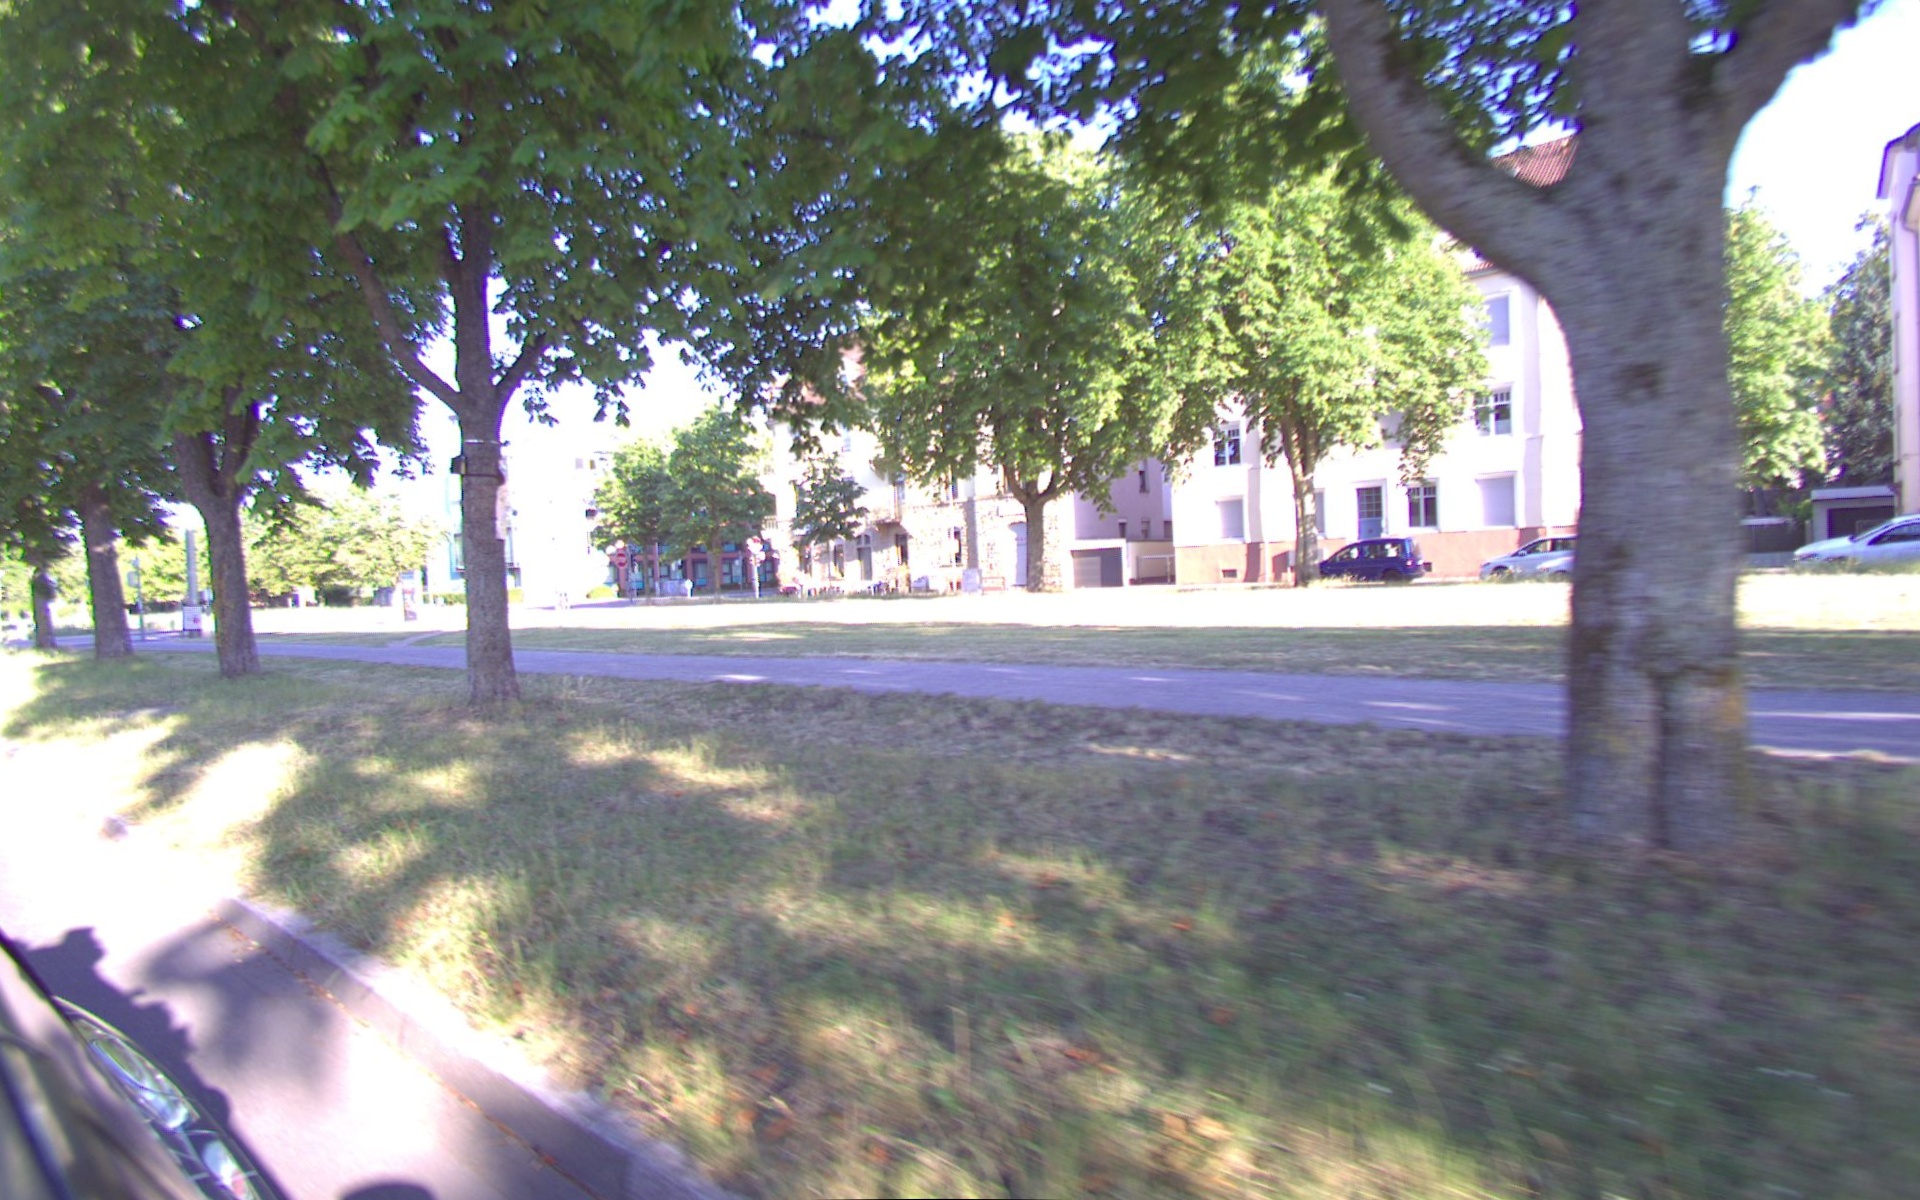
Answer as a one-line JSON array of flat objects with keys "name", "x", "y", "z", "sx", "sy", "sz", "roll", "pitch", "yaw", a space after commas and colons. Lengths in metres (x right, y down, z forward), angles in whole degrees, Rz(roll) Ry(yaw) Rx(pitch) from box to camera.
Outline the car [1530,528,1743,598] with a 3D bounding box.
[{"name": "car", "x": 18.402, "y": -0.981, "z": 27.642, "sx": 4.570, "sy": 1.670, "sz": 1.973, "roll": 0, "pitch": 5, "yaw": 43}]

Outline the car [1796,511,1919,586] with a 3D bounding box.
[{"name": "car", "x": 22.612, "y": -1.275, "z": 23.848, "sx": 4.415, "sy": 1.565, "sz": 1.779, "roll": -2, "pitch": 4, "yaw": 40}]

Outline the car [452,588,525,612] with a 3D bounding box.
[{"name": "car", "x": -39.136, "y": -0.050, "z": 84.139, "sx": 1.997, "sy": 1.684, "sz": 5.158, "roll": -1, "pitch": 3, "yaw": 38}]

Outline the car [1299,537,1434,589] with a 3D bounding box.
[{"name": "car", "x": 15.366, "y": -1.378, "z": 38.374, "sx": 4.311, "sy": 1.748, "sz": 1.973, "roll": 0, "pitch": 5, "yaw": 43}]

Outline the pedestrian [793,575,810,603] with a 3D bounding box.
[{"name": "pedestrian", "x": -9.815, "y": -0.689, "z": 62.606, "sx": 0.682, "sy": 1.636, "sz": 0.610, "roll": -1, "pitch": 4, "yaw": 39}]

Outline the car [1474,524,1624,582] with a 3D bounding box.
[{"name": "car", "x": 19.749, "y": -1.562, "z": 34.019, "sx": 4.000, "sy": 1.670, "sz": 1.973, "roll": 0, "pitch": 6, "yaw": 43}]

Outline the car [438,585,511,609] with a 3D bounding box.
[{"name": "car", "x": -40.939, "y": -0.267, "z": 85.486, "sx": 1.964, "sy": 1.684, "sz": 5.160, "roll": 0, "pitch": 3, "yaw": 36}]
